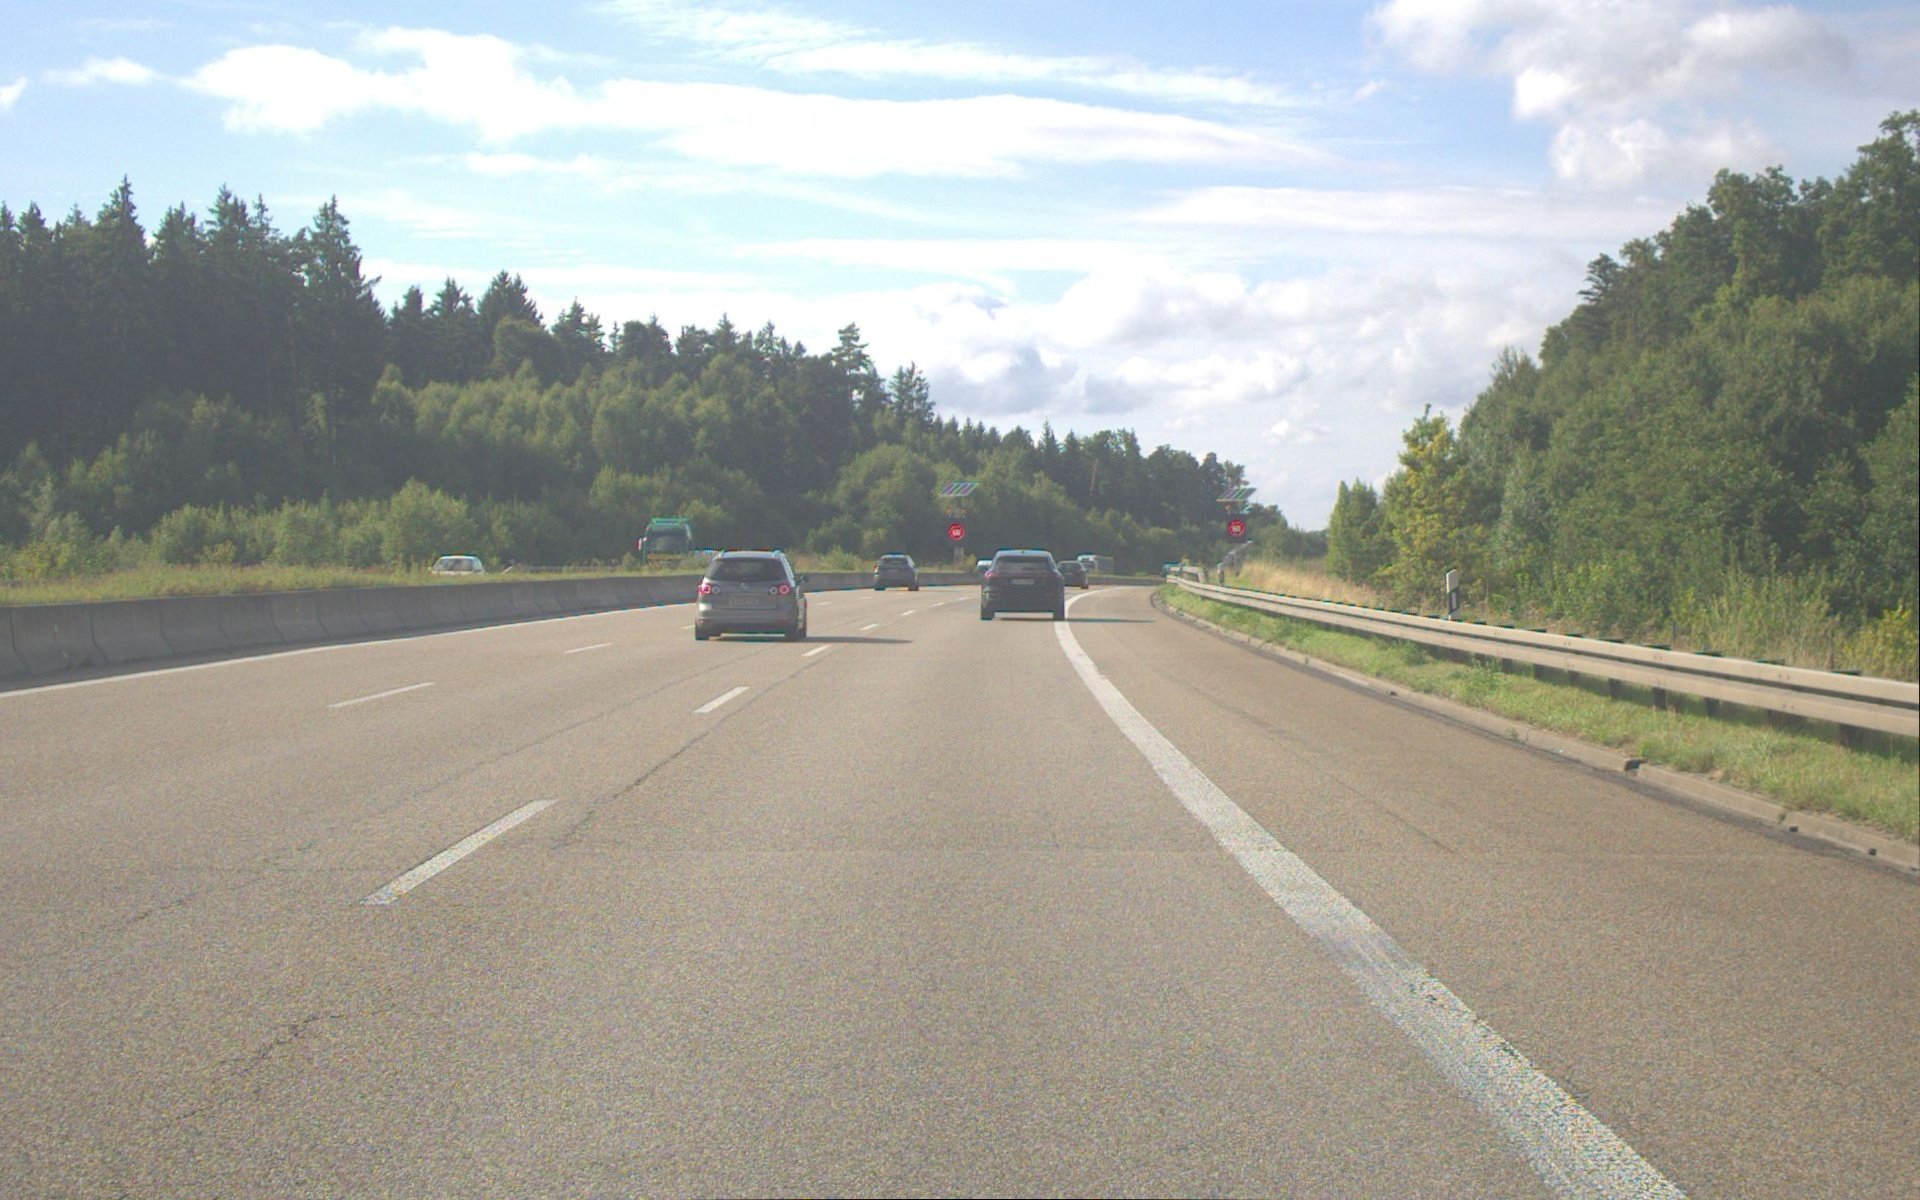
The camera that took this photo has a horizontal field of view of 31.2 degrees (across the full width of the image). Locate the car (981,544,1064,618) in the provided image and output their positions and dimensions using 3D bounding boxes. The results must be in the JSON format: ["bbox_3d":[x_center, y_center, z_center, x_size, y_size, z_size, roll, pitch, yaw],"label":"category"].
[{"bbox_3d":[1.434,-0.460,80.182,1.873,1.669,3.890,1,1,0],"label":"car"}]

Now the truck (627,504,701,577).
[{"bbox_3d":[-16.640,-3.329,193.553,3.375,3.995,5.863,1,1,2],"label":"truck"}]

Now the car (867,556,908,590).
[{"bbox_3d":[-3.354,-1.262,160.055,1.873,1.492,3.880,0,1,-1],"label":"car"}]

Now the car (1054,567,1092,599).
[{"bbox_3d":[6.121,-0.940,186.097,1.812,1.700,3.999,0,1,5],"label":"car"}]

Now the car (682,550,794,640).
[{"bbox_3d":[-3.861,-0.117,60.126,1.873,1.492,3.880,0,1,-3],"label":"car"}]
